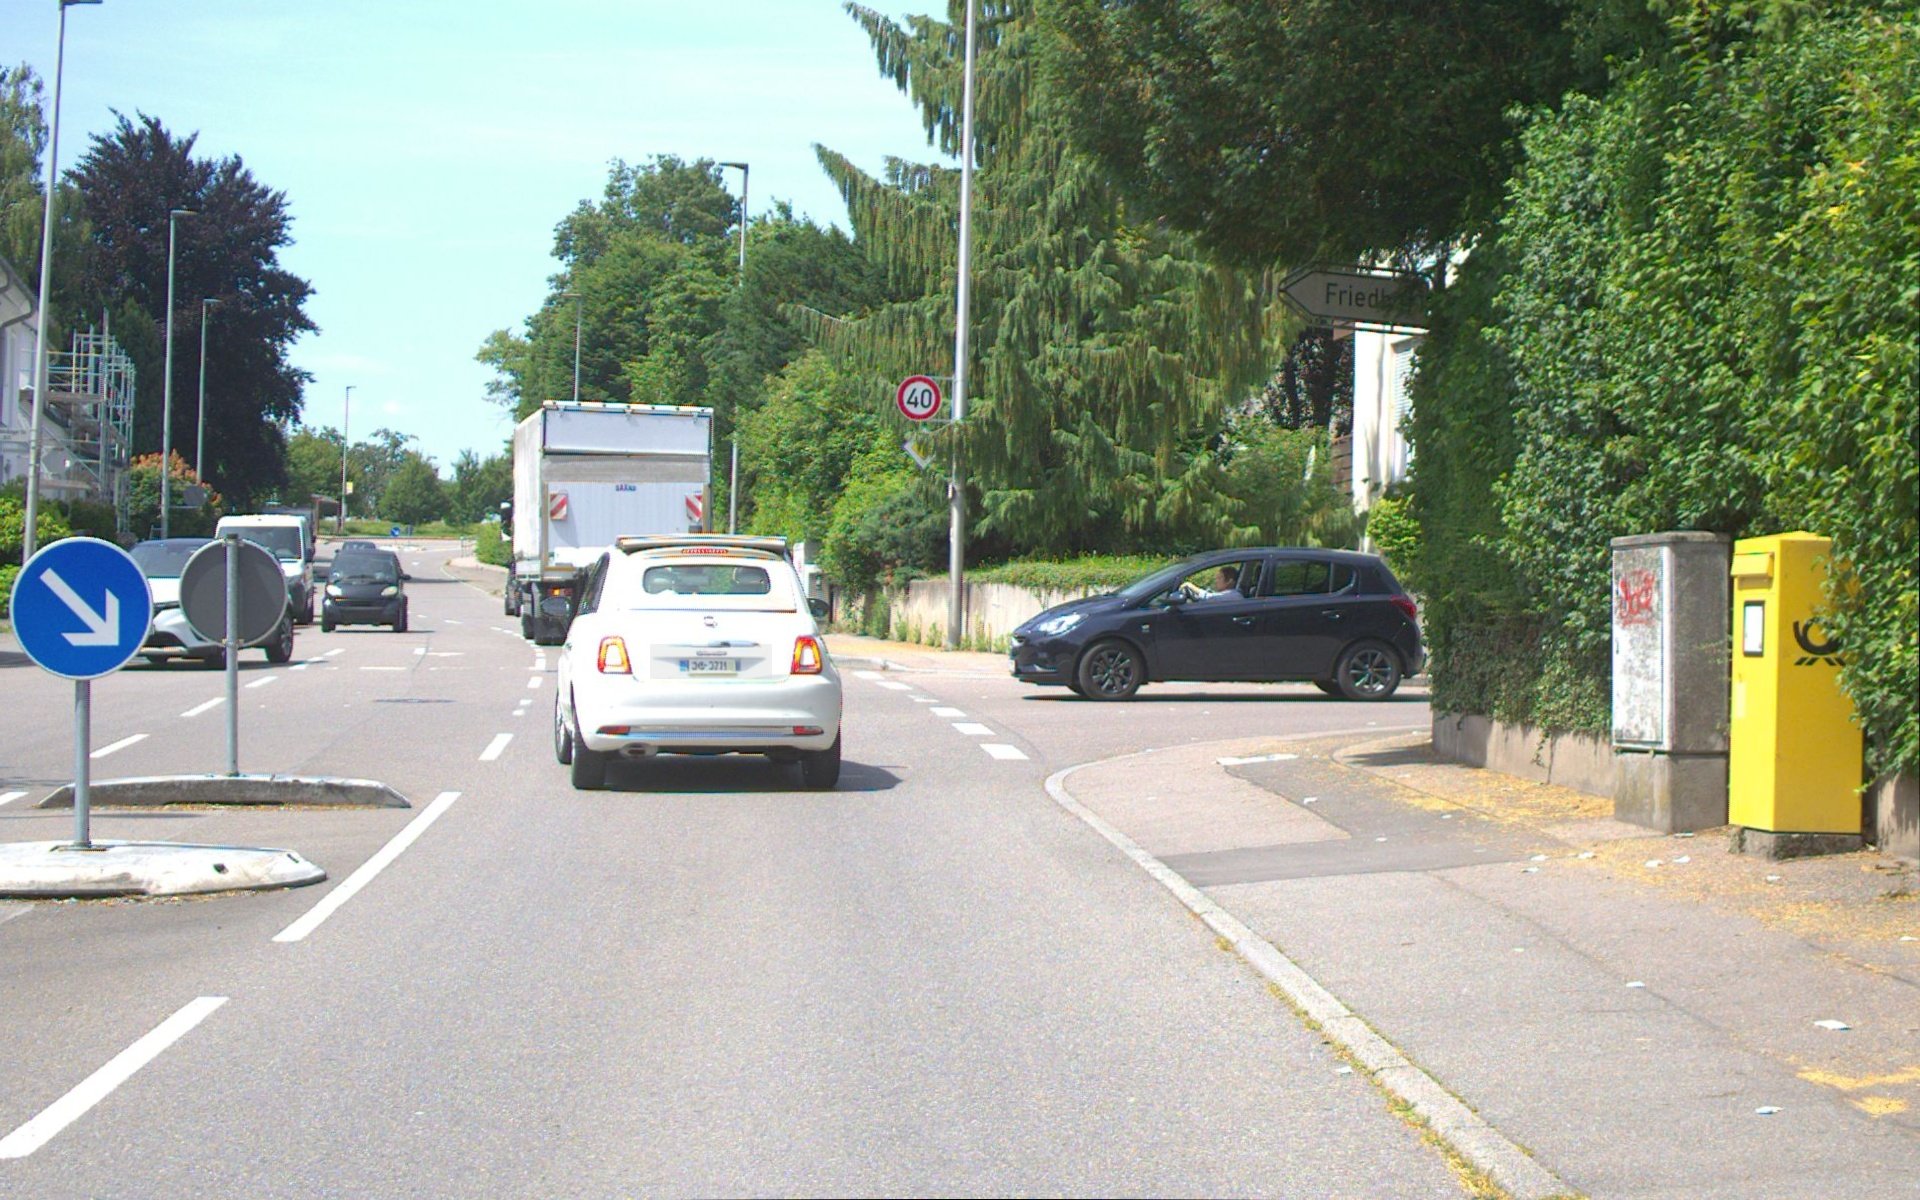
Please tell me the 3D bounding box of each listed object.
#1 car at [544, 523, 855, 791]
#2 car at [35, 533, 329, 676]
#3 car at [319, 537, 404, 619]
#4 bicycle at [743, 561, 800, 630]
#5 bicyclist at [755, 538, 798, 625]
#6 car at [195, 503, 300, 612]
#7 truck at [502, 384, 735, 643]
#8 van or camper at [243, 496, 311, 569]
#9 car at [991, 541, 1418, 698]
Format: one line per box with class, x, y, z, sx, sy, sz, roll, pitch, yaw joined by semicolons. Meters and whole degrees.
car;-1.754;0.300;22.041;1.724;1.555;4.001;0;1;-8
car;-9.378;0.084;41.802;1.784;1.524;4.168;4;0;12
car;-11.147;-0.423;64.152;1.480;1.505;2.801;0;1;-8
bicycle;-3.161;-0.092;57.349;0.668;1.100;2.426;2;0;-9
bicyclist;-3.048;-0.312;57.152;0.588;1.408;0.742;2;1;-9
car;-15.006;-0.901;72.605;2.036;2.192;5.584;1;1;-11
truck;-5.547;-1.307;54.565;3.067;3.761;7.870;1;0;-10
van or camper;-29.092;-2.877;146.611;2.264;2.952;5.890;2;1;-7
car;2.343;0.176;33.558;3.932;1.453;1.659;1;1;-5
